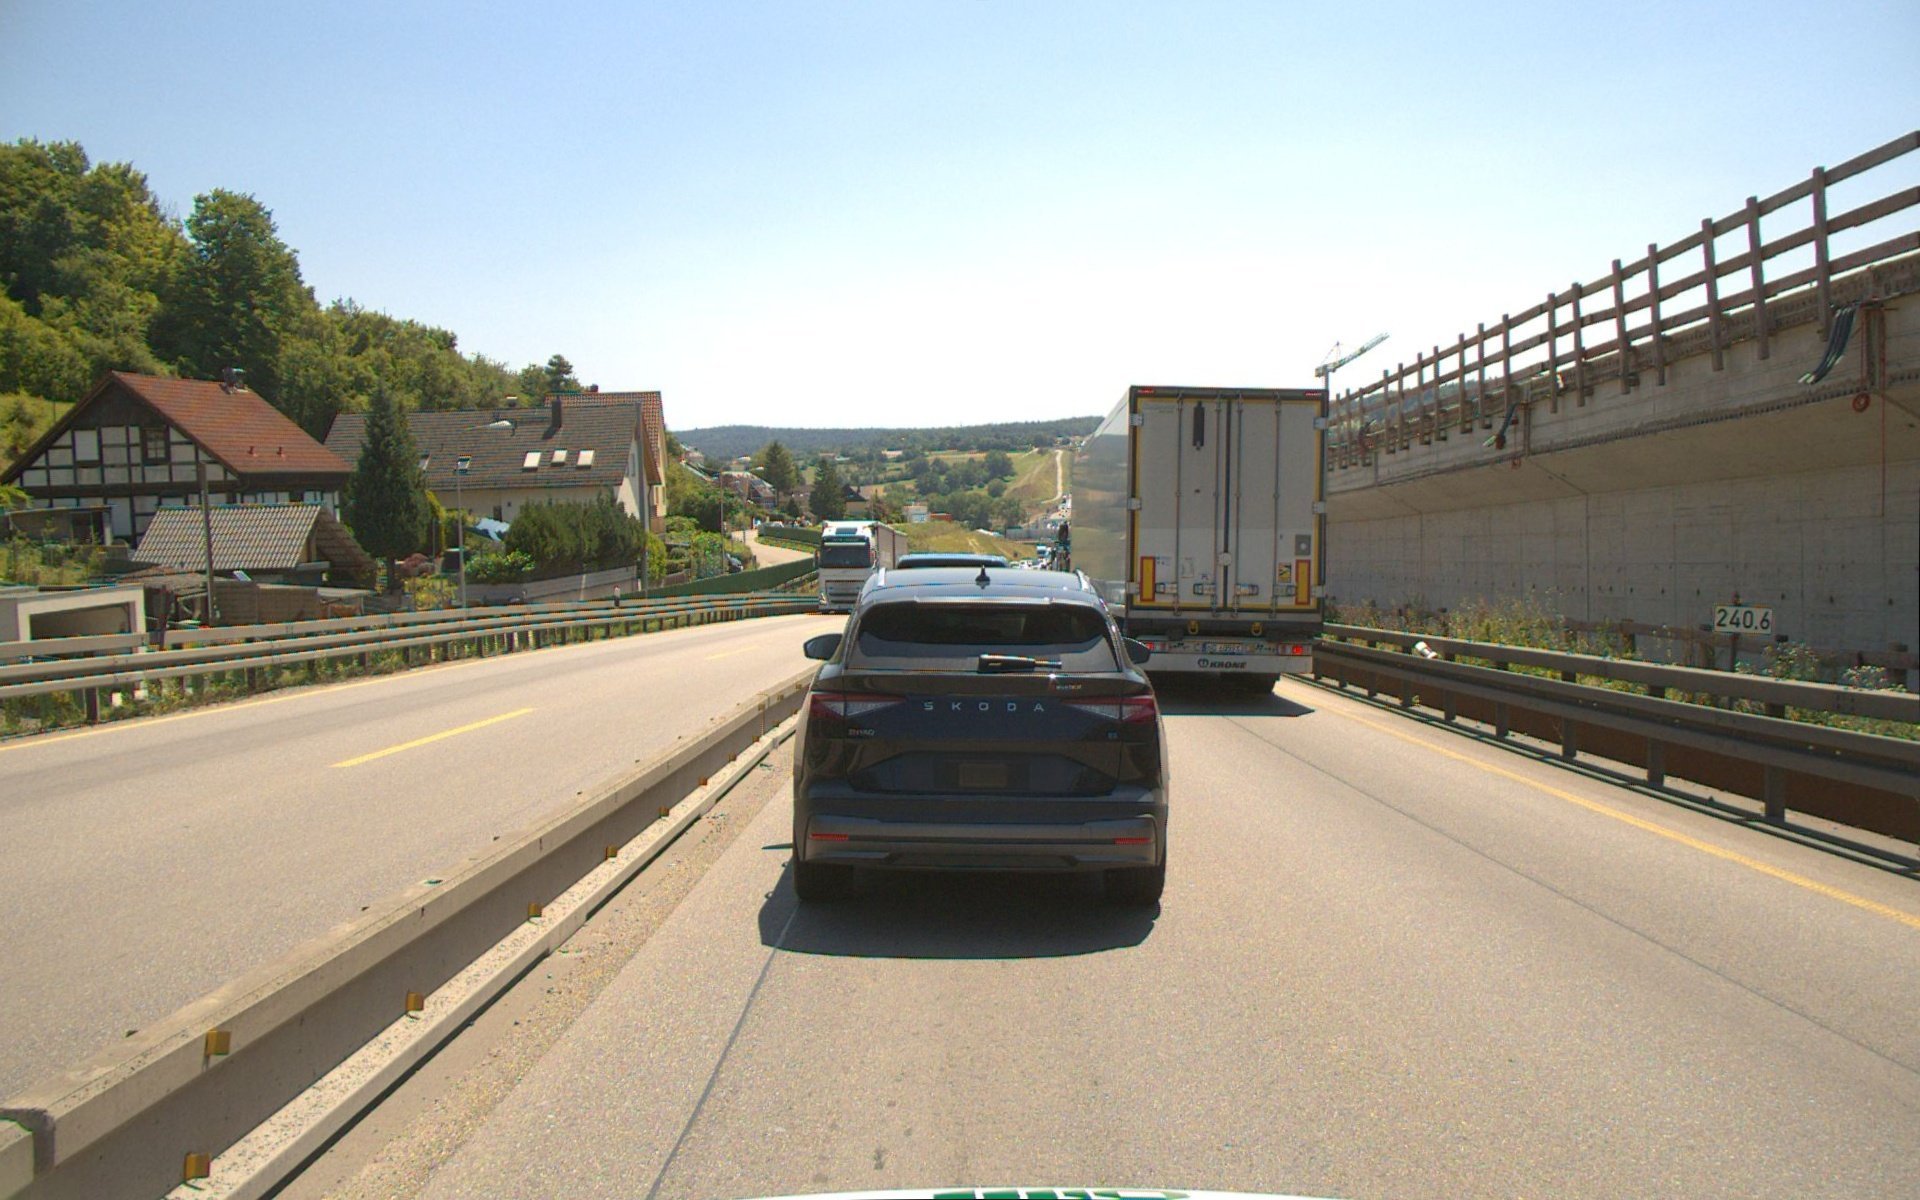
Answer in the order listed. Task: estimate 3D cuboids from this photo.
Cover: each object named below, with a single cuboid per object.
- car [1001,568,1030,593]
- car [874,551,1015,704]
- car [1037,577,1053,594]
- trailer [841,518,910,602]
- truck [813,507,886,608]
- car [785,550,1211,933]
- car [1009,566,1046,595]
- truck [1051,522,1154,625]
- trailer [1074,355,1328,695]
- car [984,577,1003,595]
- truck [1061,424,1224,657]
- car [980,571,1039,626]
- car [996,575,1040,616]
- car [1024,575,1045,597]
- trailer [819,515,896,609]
[{"bbox_3d":[3.895,-1.365,116.823,1.953,1.613,3.836,1,0,0],"label":"car"},{"bbox_3d":[-0.301,0.307,22.929,1.673,1.914,3.997,1,1,-4],"label":"car"},{"bbox_3d":[9.145,-1.535,177.258,1.665,1.758,3.838,1,0,4],"label":"car"},{"bbox_3d":[-4.318,-2.082,86.344,2.700,4.141,8.638,1,1,3],"label":"trailer"},{"bbox_3d":[-4.911,-1.877,74.269,2.694,4.358,4.959,1,1,2],"label":"truck"},{"bbox_3d":[0.028,0.621,9.005,1.806,1.614,3.904,1,0,-4],"label":"car"},{"bbox_3d":[3.839,-1.097,94.824,1.953,1.613,3.836,1,0,0],"label":"car"},{"bbox_3d":[4.850,-0.799,58.495,3.128,3.247,12.813,0,0,3],"label":"truck"},{"bbox_3d":[3.406,-0.906,26.395,2.479,4.199,11.548,1,0,1],"label":"trailer"},{"bbox_3d":[3.287,-1.357,161.131,1.665,1.758,3.838,1,0,4],"label":"car"},{"bbox_3d":[3.488,-1.033,33.400,2.461,4.095,8.238,1,0,1],"label":"truck"},{"bbox_3d":[1.542,-0.088,52.837,1.672,1.650,4.000,1,1,-1],"label":"car"},{"bbox_3d":[2.506,-0.218,72.378,1.672,1.650,4.000,1,1,-1],"label":"car"},{"bbox_3d":[6.423,-1.185,141.984,1.665,1.758,3.838,1,0,4],"label":"car"},{"bbox_3d":[-4.744,-1.803,78.014,2.700,4.141,8.011,1,1,3],"label":"trailer"}]
